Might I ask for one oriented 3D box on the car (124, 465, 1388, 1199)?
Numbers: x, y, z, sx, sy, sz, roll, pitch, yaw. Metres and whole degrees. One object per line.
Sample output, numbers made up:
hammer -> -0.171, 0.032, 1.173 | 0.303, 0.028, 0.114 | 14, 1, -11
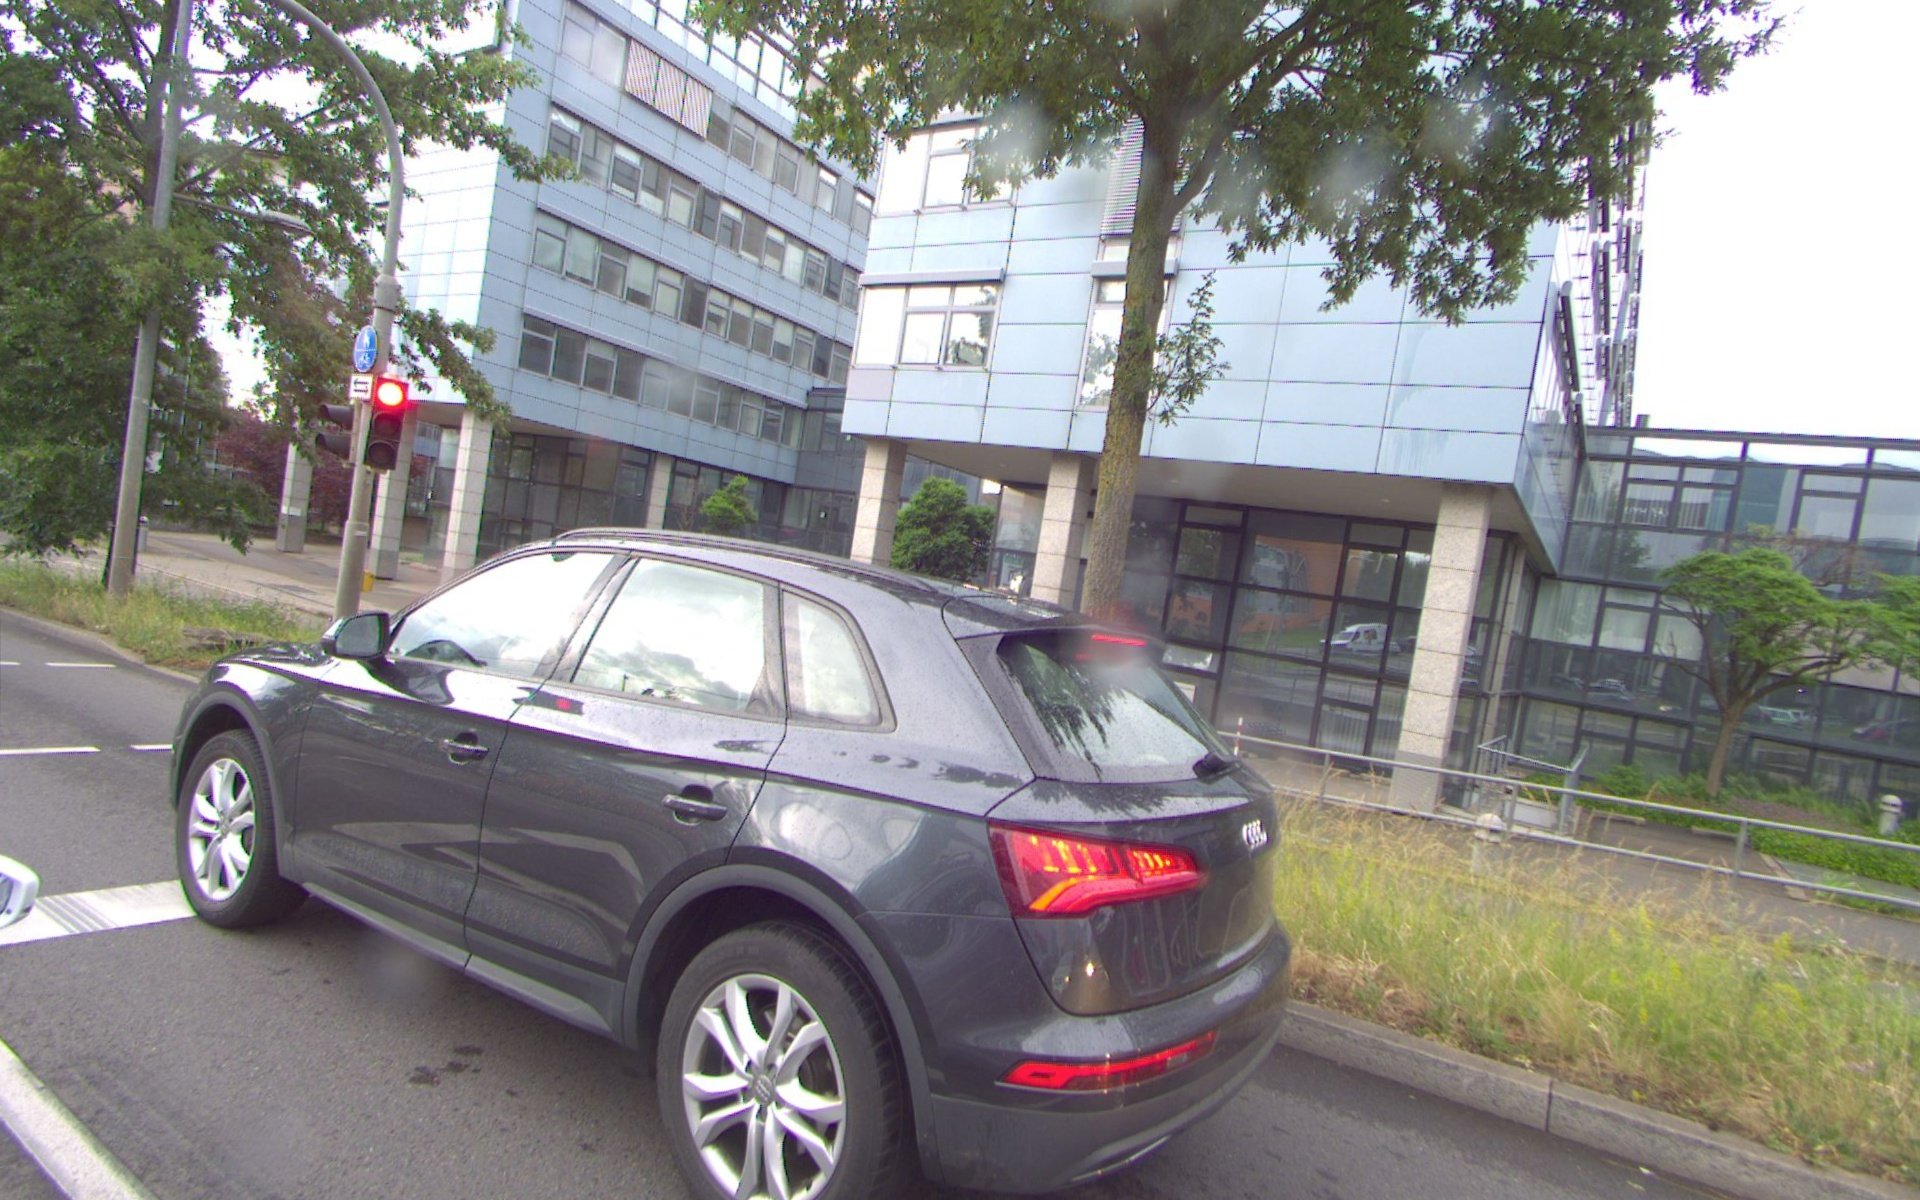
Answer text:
car -> -0.991, 0.567, 3.730 | 4.396, 1.632, 1.821 | 7, -1, 32
